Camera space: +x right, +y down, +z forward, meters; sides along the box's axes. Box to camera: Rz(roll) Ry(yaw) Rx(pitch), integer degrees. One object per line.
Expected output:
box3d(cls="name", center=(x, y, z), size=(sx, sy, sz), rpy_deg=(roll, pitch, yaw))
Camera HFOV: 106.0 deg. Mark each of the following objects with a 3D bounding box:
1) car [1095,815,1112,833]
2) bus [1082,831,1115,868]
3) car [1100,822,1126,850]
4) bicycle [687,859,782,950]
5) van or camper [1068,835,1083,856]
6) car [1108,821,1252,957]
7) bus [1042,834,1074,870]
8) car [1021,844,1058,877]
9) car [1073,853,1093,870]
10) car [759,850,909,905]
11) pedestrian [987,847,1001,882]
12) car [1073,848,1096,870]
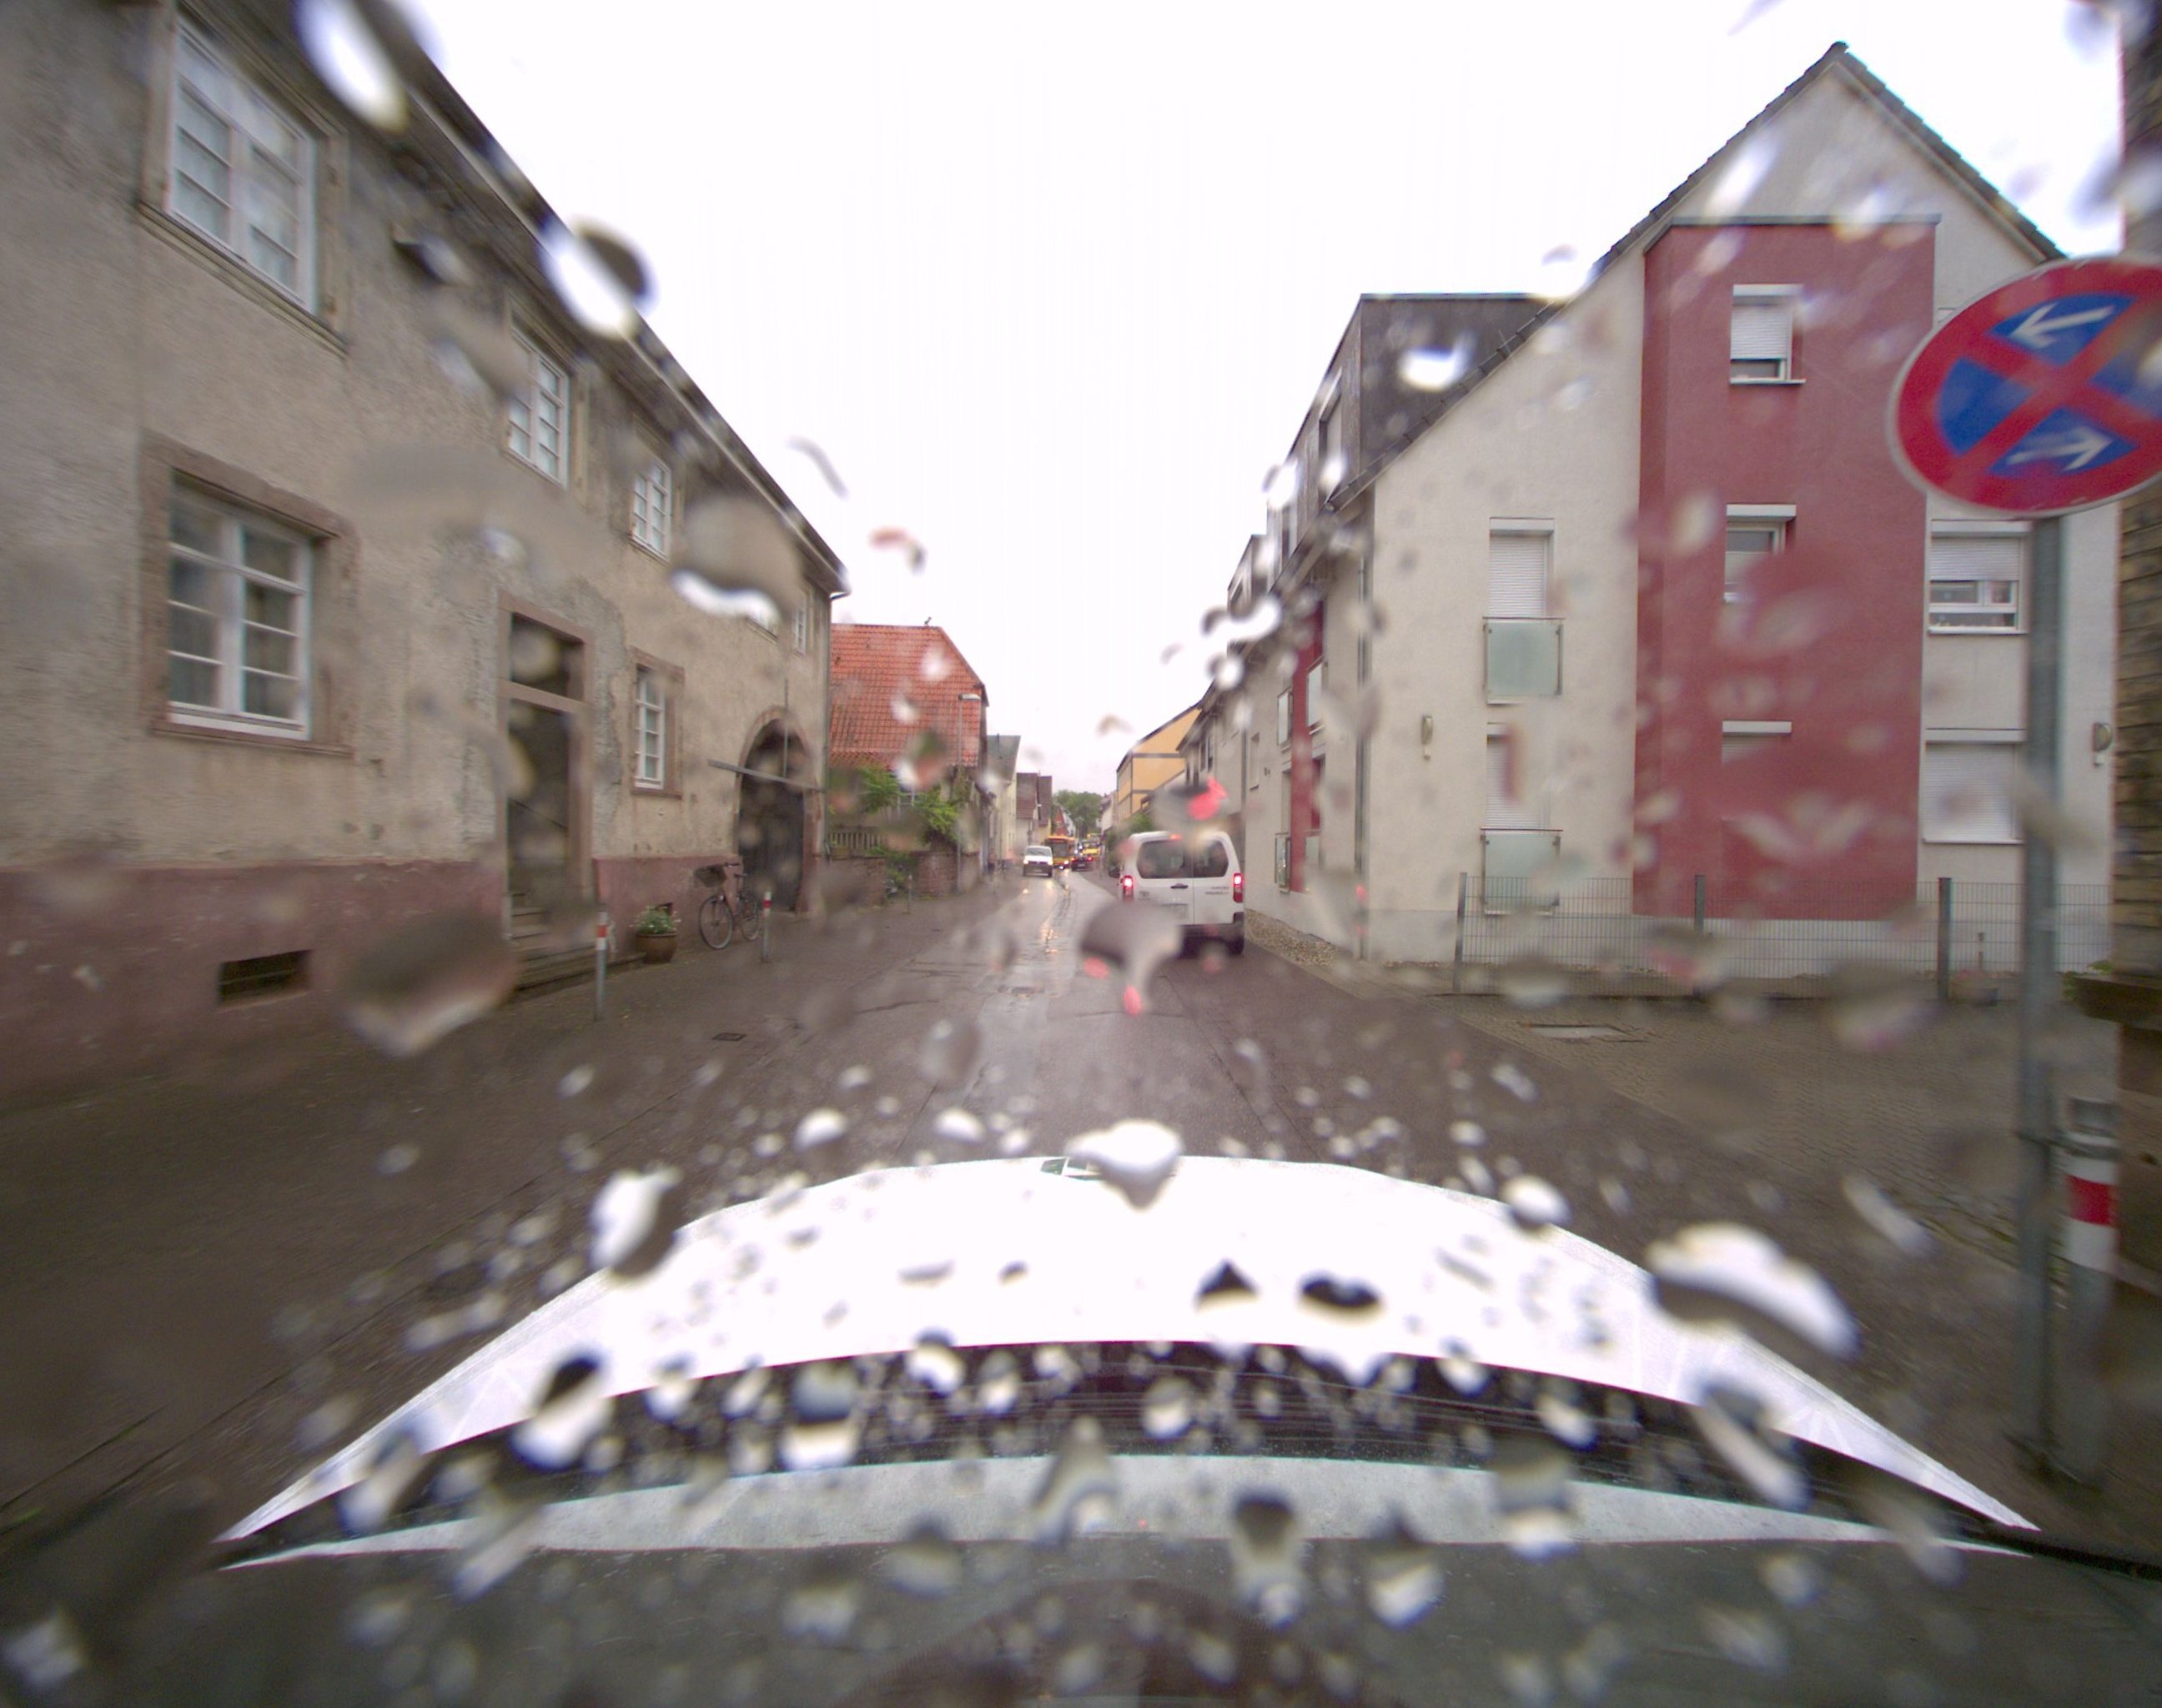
box3d(cls="car", center=(2.766, -3.678, 101.503), size=(1.986, 2.014, 4.001), rpy_deg=(2, -1, 1))
box3d(cls="bus", center=(1.585, -0.340, 76.796), size=(2.784, 3.180, 8.176), rpy_deg=(3, -1, 0))
box3d(cls="car", center=(2.414, -1.346, 62.252), size=(1.821, 2.014, 3.693), rpy_deg=(2, -1, 0))
box3d(cls="bicycle", center=(-4.887, 0.668, 11.622), size=(0.481, 1.180, 1.836), rpy_deg=(2, -1, 2))
box3d(cls="van or camper", center=(-0.731, -1.201, 117.220), size=(1.828, 2.925, 5.364), rpy_deg=(2, -1, 1))
box3d(cls="car", center=(1.423, 0.493, 13.166), size=(1.789, 1.819, 4.100), rpy_deg=(-1, 0, 0))
box3d(cls="bus", center=(-2.197, -0.163, 81.271), size=(2.784, 3.329, 8.176), rpy_deg=(3, -1, 0))
box3d(cls="car", center=(-2.613, 0.404, 52.425), size=(1.885, 1.967, 4.725), rpy_deg=(2, -1, 2))
box3d(cls="car", center=(0.157, 0.617, 66.611), size=(1.556, 1.371, 3.585), rpy_deg=(2, -1, 1))
box3d(cls="car", center=(-6.596, 0.607, 21.973), size=(3.514, 1.376, 1.595), rpy_deg=(1, 0, 2))
box3d(cls="pedestrian", center=(-3.824, 0.466, 35.607), size=(0.567, 1.530, 0.567), rpy_deg=(0, 0, -10))
box3d(cls="car", center=(0.246, 0.348, 56.526), size=(1.556, 1.480, 3.584), rpy_deg=(2, -1, 0))
